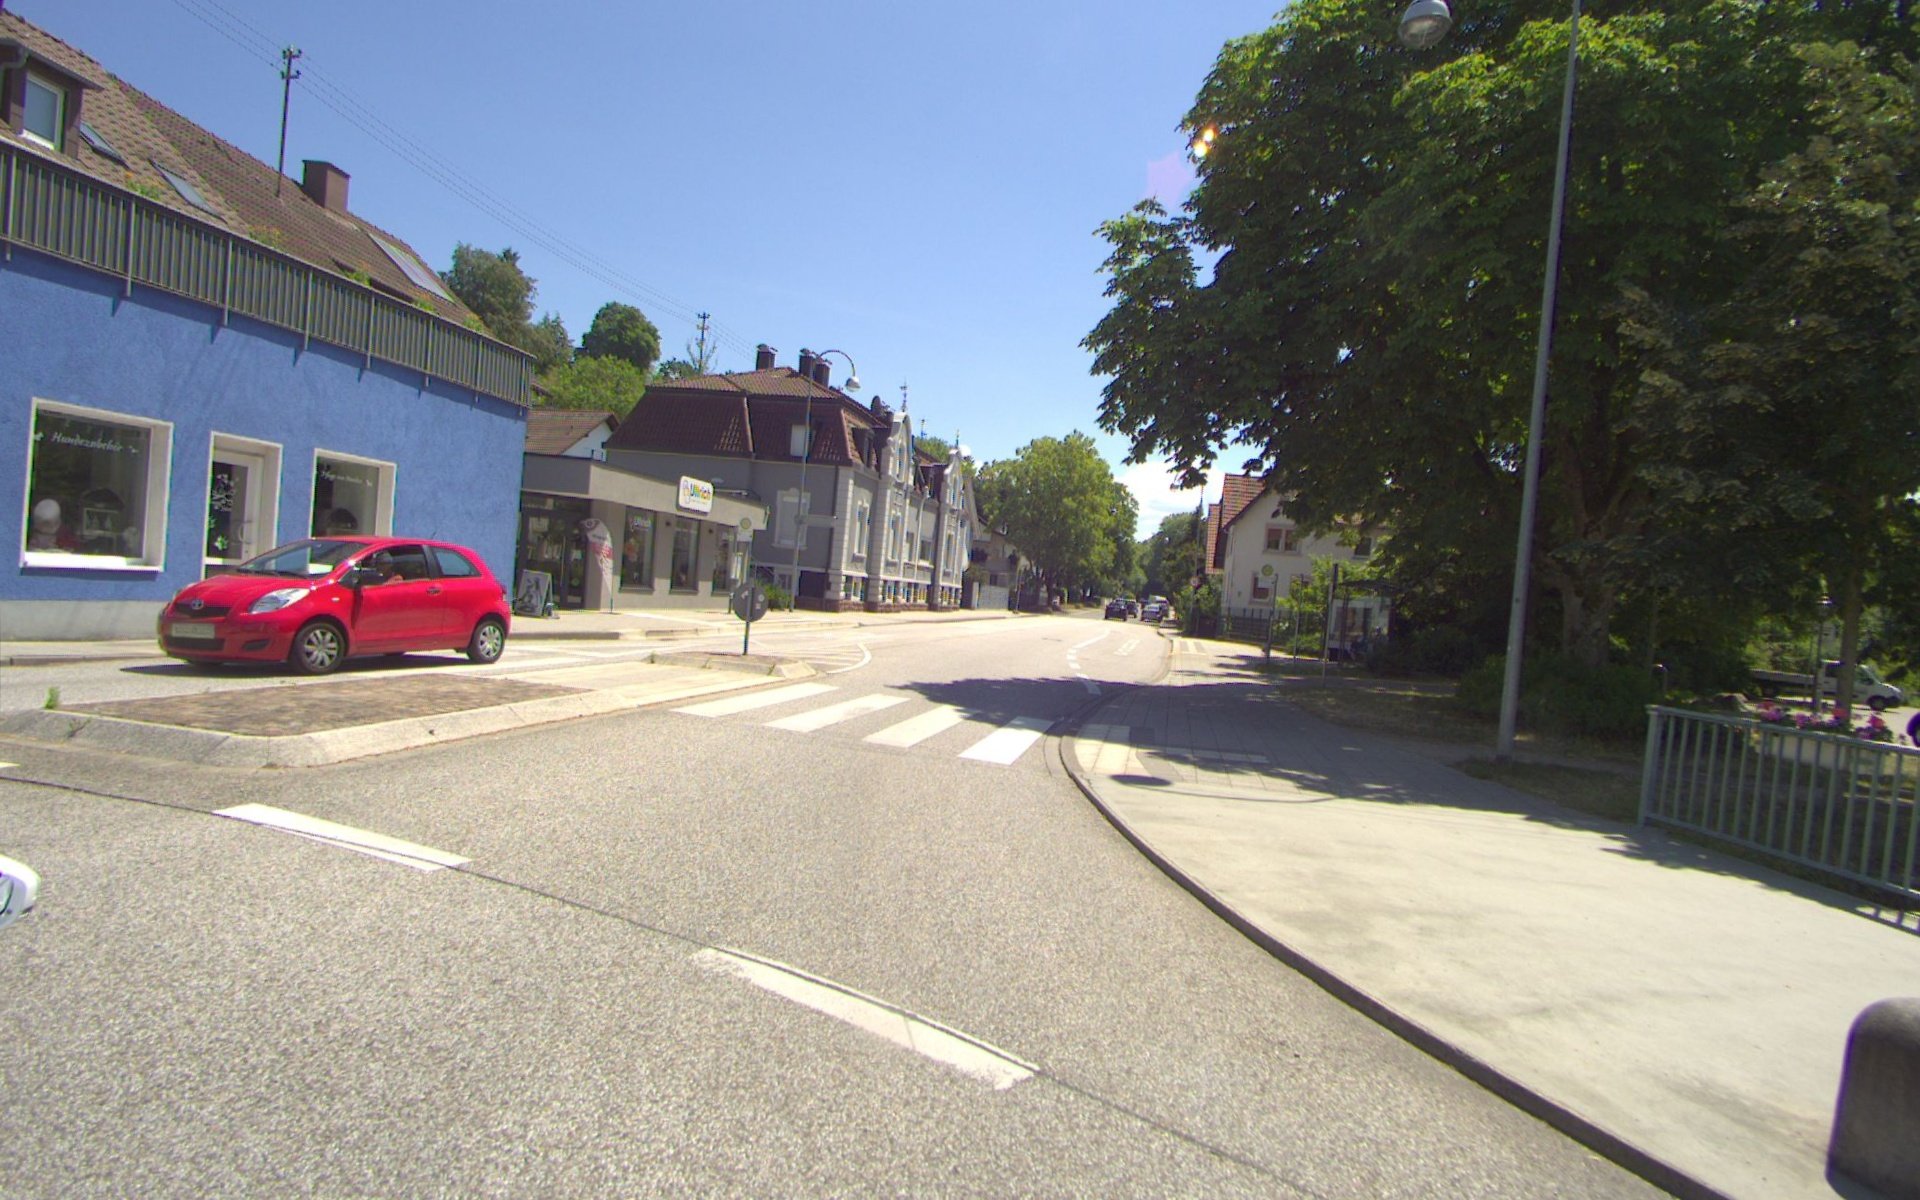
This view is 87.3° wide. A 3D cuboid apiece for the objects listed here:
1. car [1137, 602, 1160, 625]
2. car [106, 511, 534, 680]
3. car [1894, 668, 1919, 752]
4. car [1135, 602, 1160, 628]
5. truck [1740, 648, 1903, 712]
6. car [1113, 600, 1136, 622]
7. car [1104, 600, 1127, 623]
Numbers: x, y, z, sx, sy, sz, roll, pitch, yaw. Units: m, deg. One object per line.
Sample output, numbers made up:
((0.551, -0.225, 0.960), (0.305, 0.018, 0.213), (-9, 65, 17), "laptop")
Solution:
((19.433, 1.440, 103.715), (1.962, 2.038, 4.003), (7, -1, 8), "car")
((-7.061, -0.031, 11.660), (1.800, 1.553, 3.999), (3, 0, 15), "car")
((20.269, 2.327, 18.549), (1.815, 1.622, 3.982), (5, 1, -19), "car")
((17.347, 1.399, 92.927), (1.962, 2.038, 4.003), (7, -1, 11), "car")
((44.730, 4.135, 52.359), (6.137, 2.473, 2.253), (6, -1, 44), "truck")
((17.040, 1.164, 104.314), (1.962, 2.038, 4.003), (7, -1, 8), "car")
((13.083, 0.963, 84.633), (1.706, 1.726, 4.003), (4, -1, 8), "car")
